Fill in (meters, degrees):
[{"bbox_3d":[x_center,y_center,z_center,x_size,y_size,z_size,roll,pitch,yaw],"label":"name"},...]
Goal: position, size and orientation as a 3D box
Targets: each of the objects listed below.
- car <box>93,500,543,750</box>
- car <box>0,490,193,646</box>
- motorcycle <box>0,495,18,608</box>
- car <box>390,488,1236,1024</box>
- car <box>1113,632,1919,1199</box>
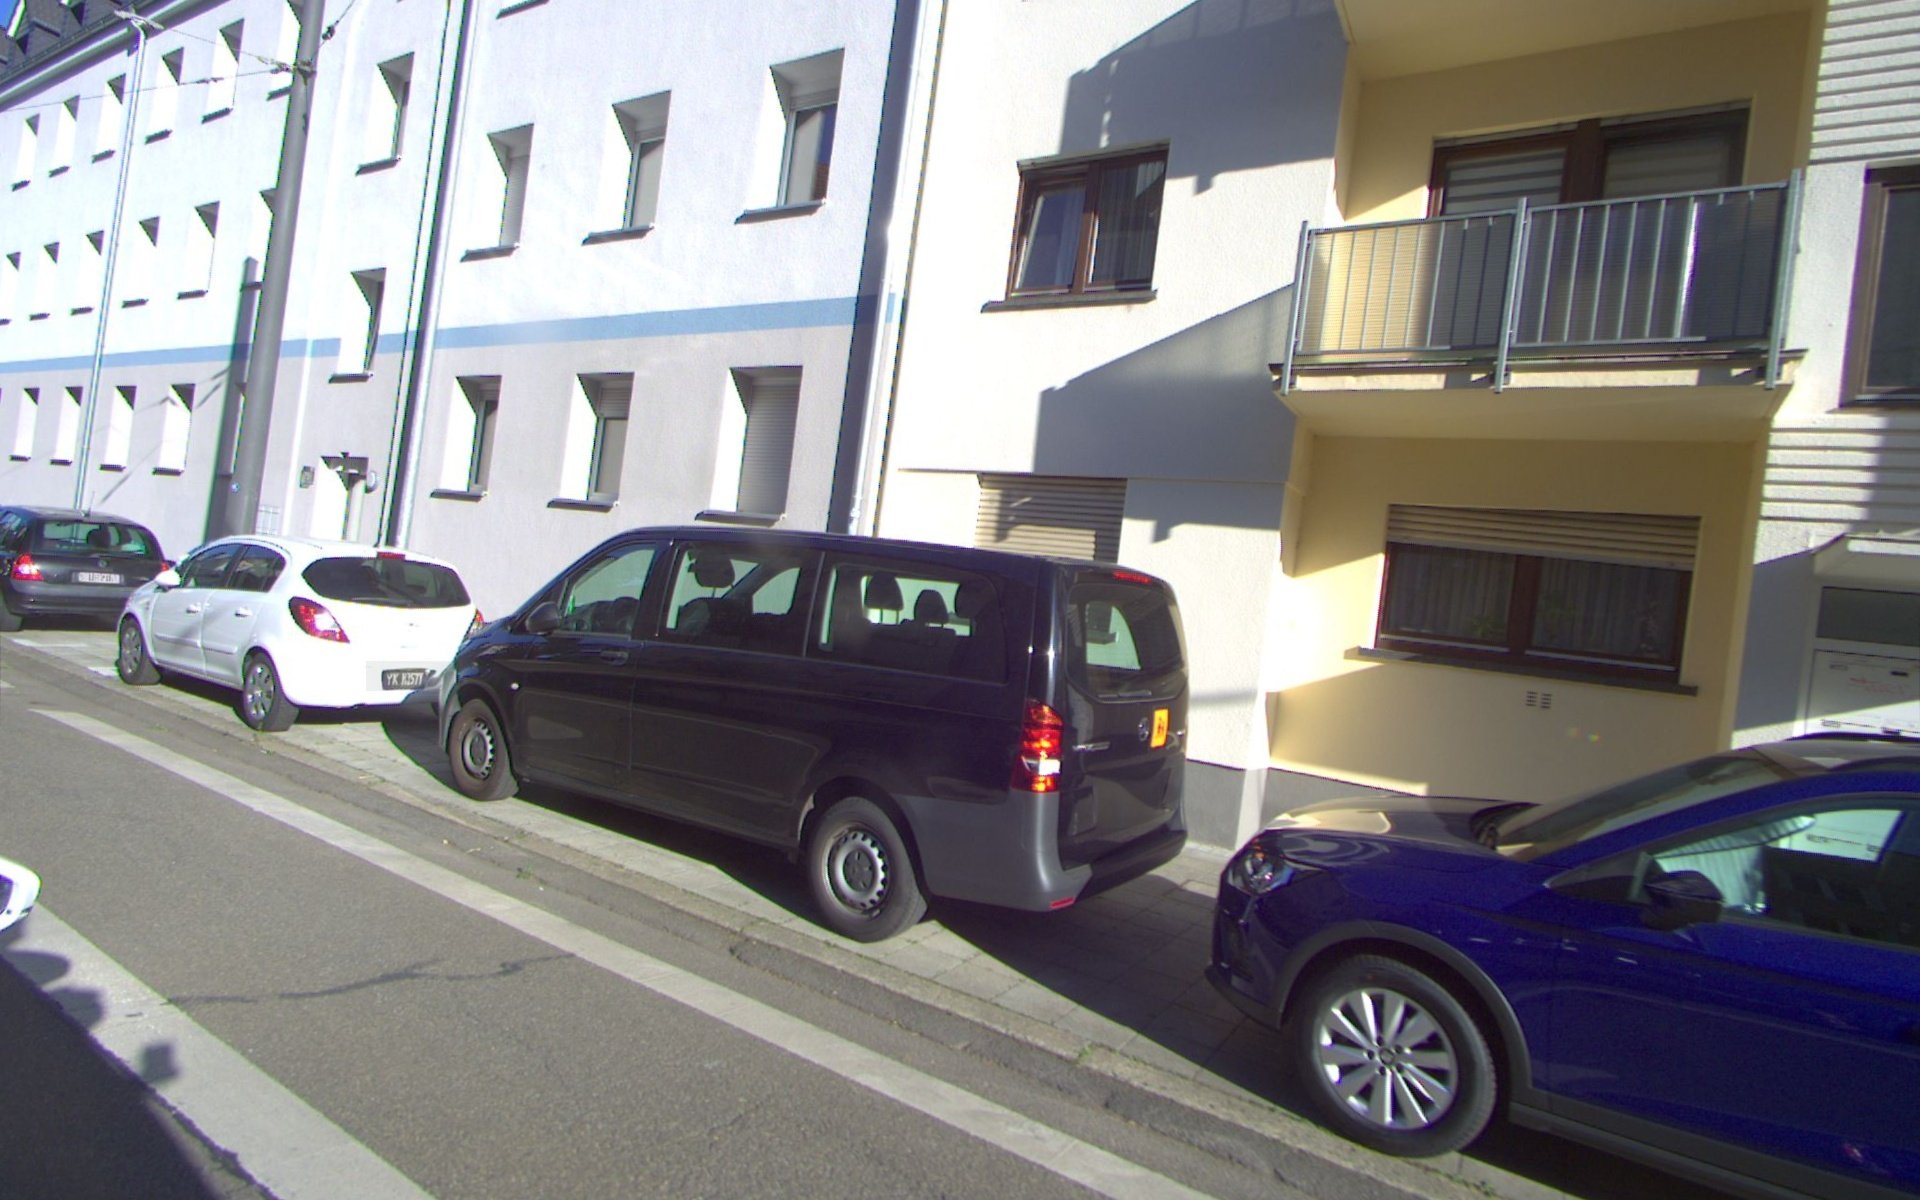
[{"bbox_3d":[-5.731,0.133,8.886,3.839,1.591,1.802,7,1,32],"label":"car"},{"bbox_3d":[-11.292,-0.480,12.452,3.841,1.591,1.609,7,1,34],"label":"car"},{"bbox_3d":[-14.427,-0.826,14.236,2.663,1.540,0.807,7,-1,32],"label":"motorcycle"},{"bbox_3d":[-1.137,0.531,6.129,4.923,1.945,1.930,7,1,33],"label":"car"},{"bbox_3d":[2.821,1.170,3.346,4.149,1.591,1.610,7,1,33],"label":"car"}]
